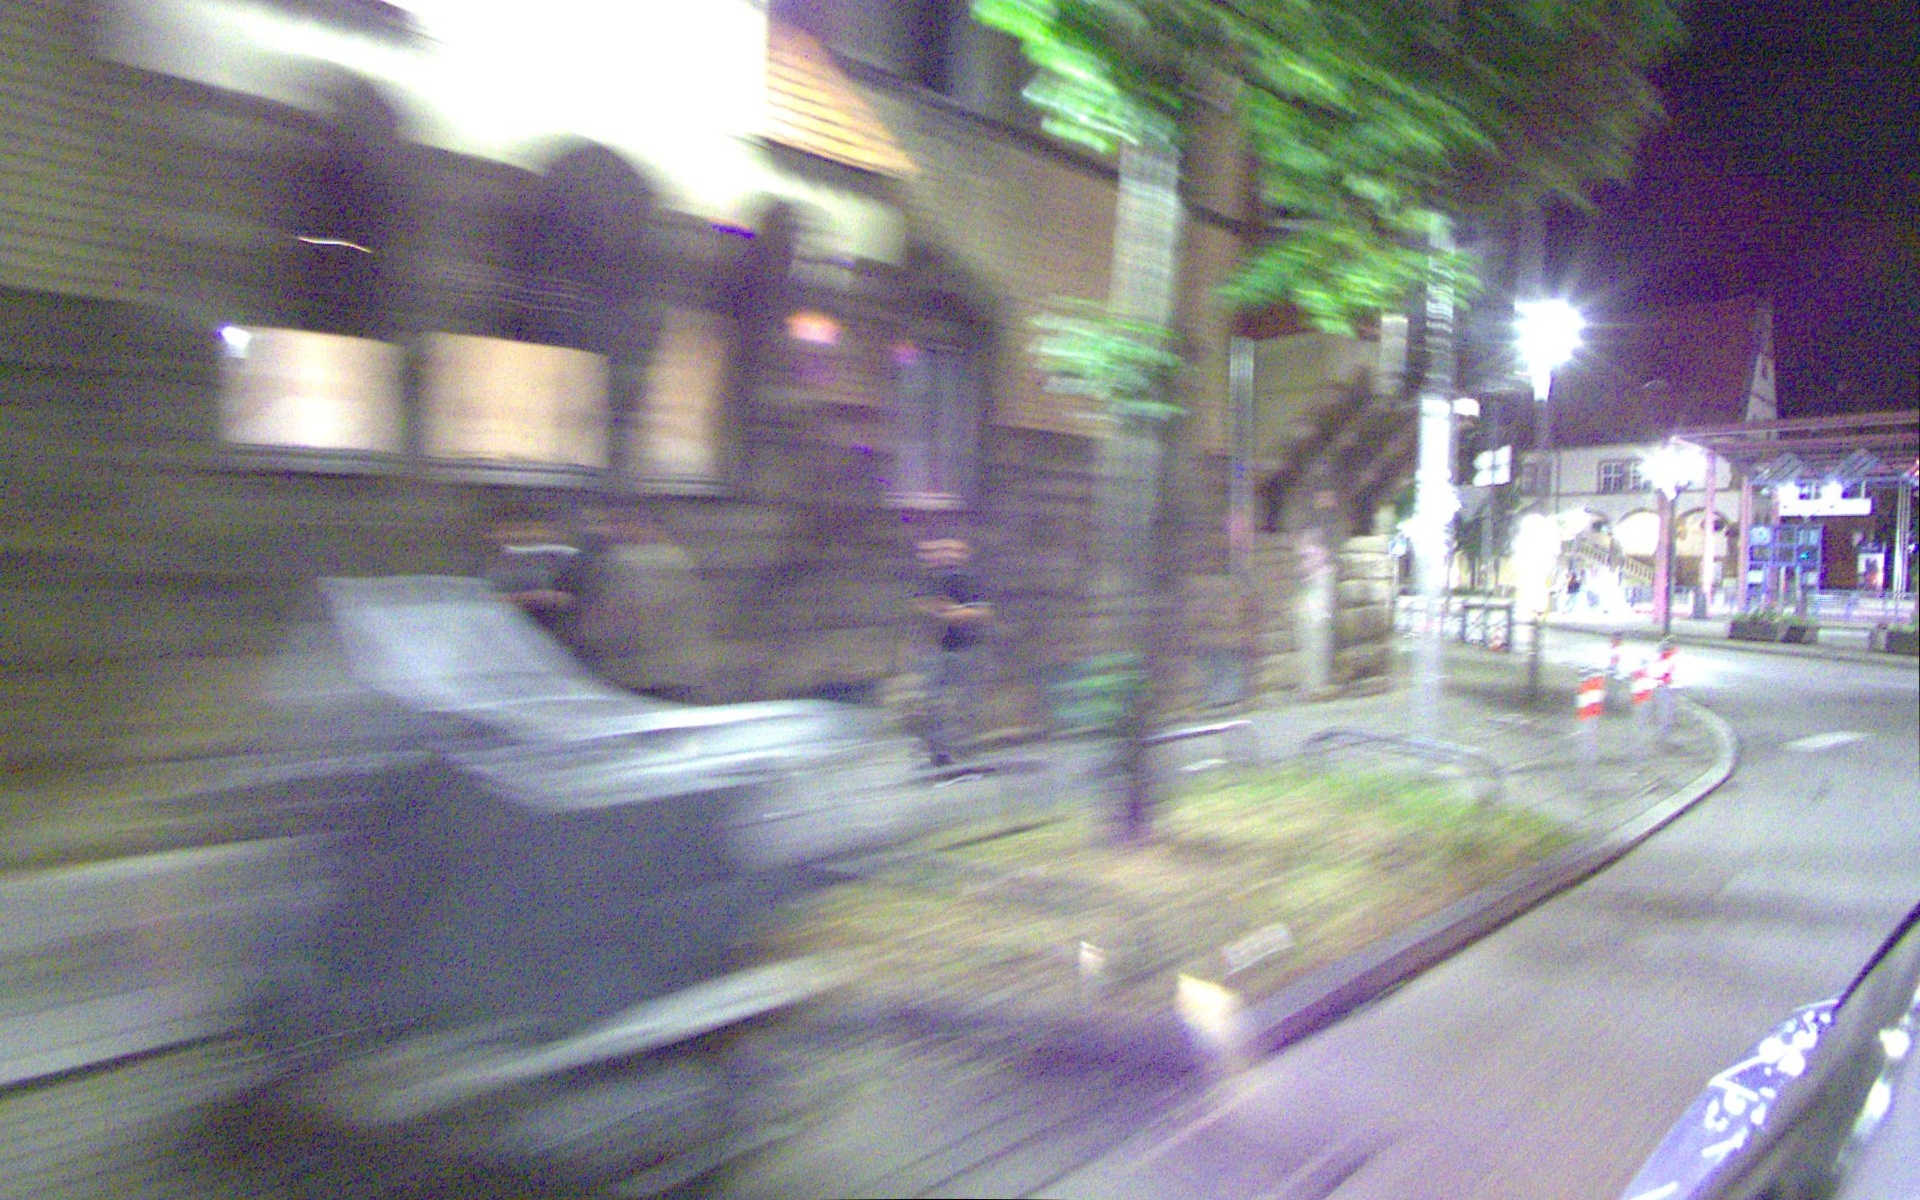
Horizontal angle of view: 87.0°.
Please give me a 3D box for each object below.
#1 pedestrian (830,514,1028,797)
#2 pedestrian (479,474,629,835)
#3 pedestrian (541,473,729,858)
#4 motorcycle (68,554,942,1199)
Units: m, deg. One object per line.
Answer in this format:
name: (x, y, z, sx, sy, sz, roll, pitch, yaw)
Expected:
pedestrian: (-0.199, 0.305, 6.510, 0.949, 1.651, 0.809, 0, 2, -41)
pedestrian: (-2.091, 0.249, 5.203, 0.561, 1.729, 0.478, 0, 3, -41)
pedestrian: (-1.590, 0.281, 4.945, 0.692, 1.729, 0.508, 0, 3, -41)
motorcycle: (-1.088, 0.615, 2.526, 1.916, 1.369, 0.760, 3, 3, 14)
